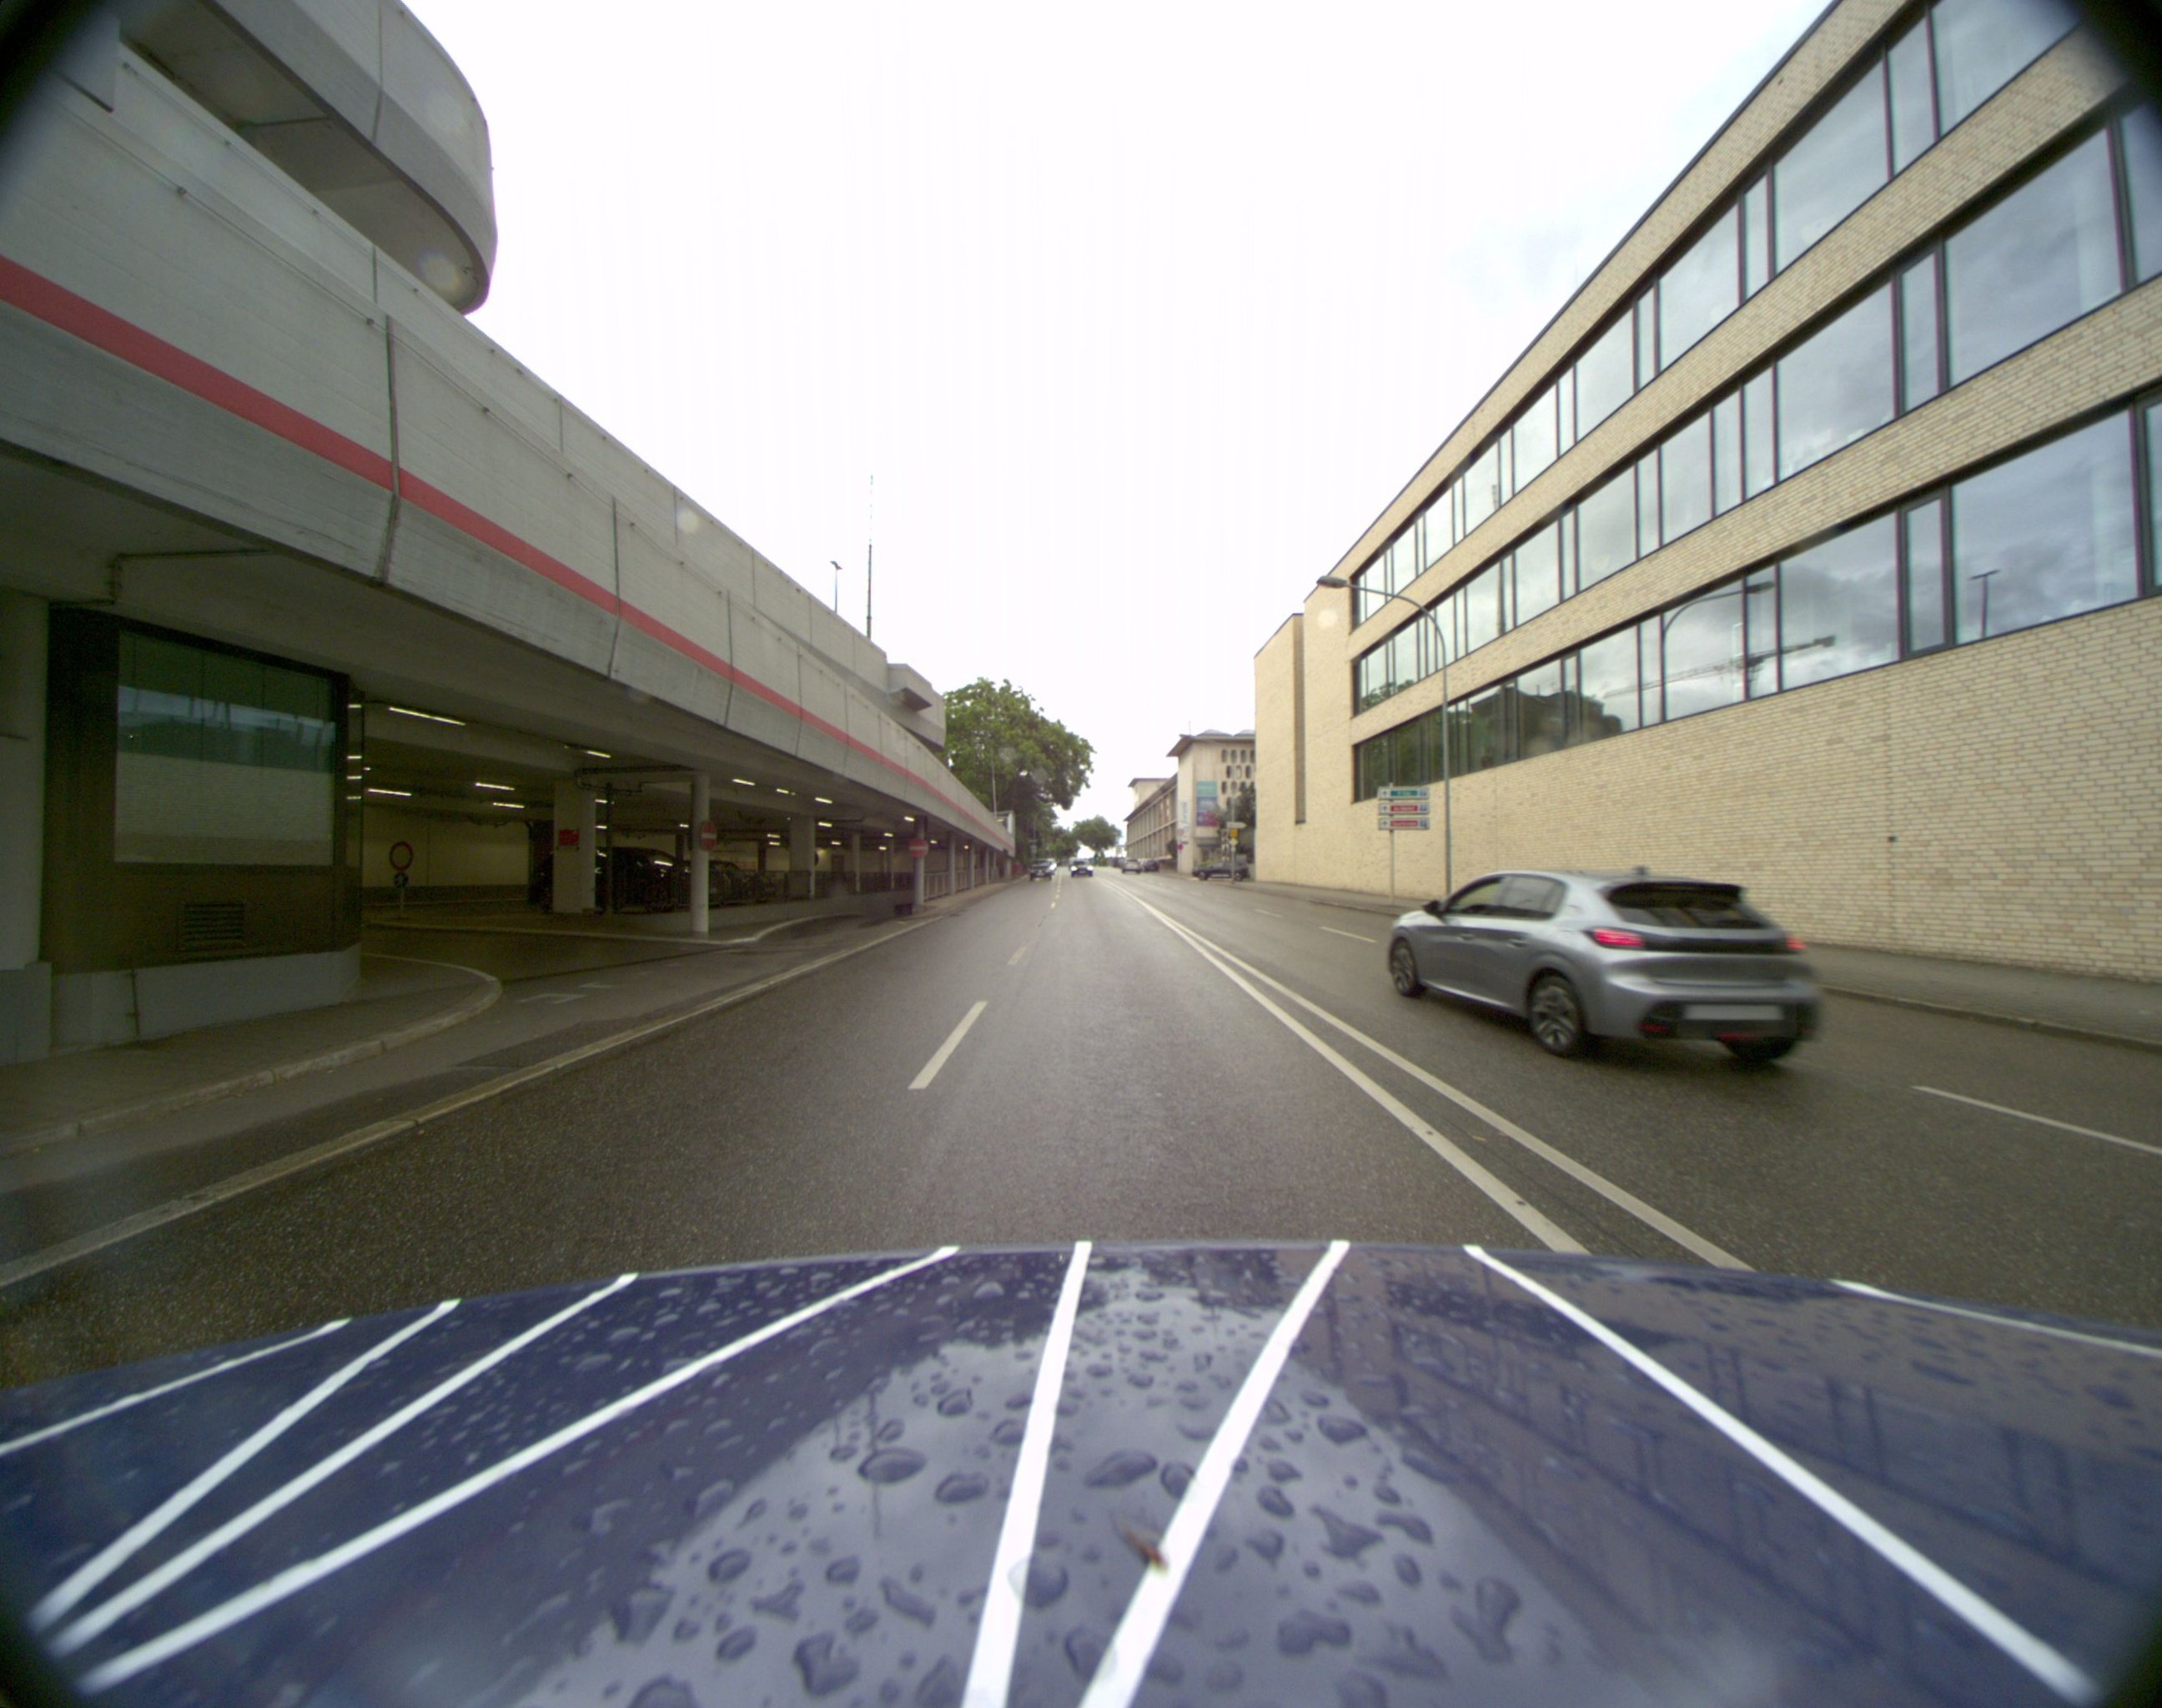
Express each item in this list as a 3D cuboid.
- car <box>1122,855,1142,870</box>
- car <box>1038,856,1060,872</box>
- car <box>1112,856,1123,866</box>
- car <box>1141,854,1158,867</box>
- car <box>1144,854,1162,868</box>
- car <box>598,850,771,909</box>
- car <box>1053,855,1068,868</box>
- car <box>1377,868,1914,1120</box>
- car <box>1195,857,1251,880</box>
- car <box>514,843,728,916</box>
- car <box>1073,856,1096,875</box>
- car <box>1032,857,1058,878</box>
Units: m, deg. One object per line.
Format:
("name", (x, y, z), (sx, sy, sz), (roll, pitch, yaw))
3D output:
("car", (5.442, 0.919, 81.567), (1.800, 1.516, 4.056), (-2, -1, 1))
("car", (-3.147, 0.980, 74.762), (1.915, 1.443, 4.036), (-2, 1, 0))
("car", (6.838, 1.302, 142.651), (1.698, 1.715, 3.756), (-2, 1, 1))
("car", (8.655, 0.852, 96.590), (1.800, 1.516, 4.056), (-2, -1, 1))
("car", (8.591, 0.869, 90.953), (1.800, 1.516, 4.056), (-2, -1, 1))
("car", (-11.925, 0.811, 23.002), (4.251, 1.650, 2.003), (-1, -4, 10))
("car", (-2.755, 0.942, 103.258), (1.727, 1.628, 3.999), (-2, 1, 1))
("car", (4.293, 0.920, 6.691), (1.745, 1.461, 3.882), (1, 0, -1))
("car", (10.852, 1.091, 57.832), (3.992, 1.652, 1.863), (-1, 0, 16))
("car", (-11.394, 0.688, 18.979), (4.251, 1.650, 2.003), (-1, -4, 10))
("car", (0.330, 0.971, 64.117), (1.852, 1.516, 3.990), (-2, -1, 1))
("car", (-2.702, 1.005, 57.702), (1.683, 1.516, 3.990), (-2, -1, 1))
